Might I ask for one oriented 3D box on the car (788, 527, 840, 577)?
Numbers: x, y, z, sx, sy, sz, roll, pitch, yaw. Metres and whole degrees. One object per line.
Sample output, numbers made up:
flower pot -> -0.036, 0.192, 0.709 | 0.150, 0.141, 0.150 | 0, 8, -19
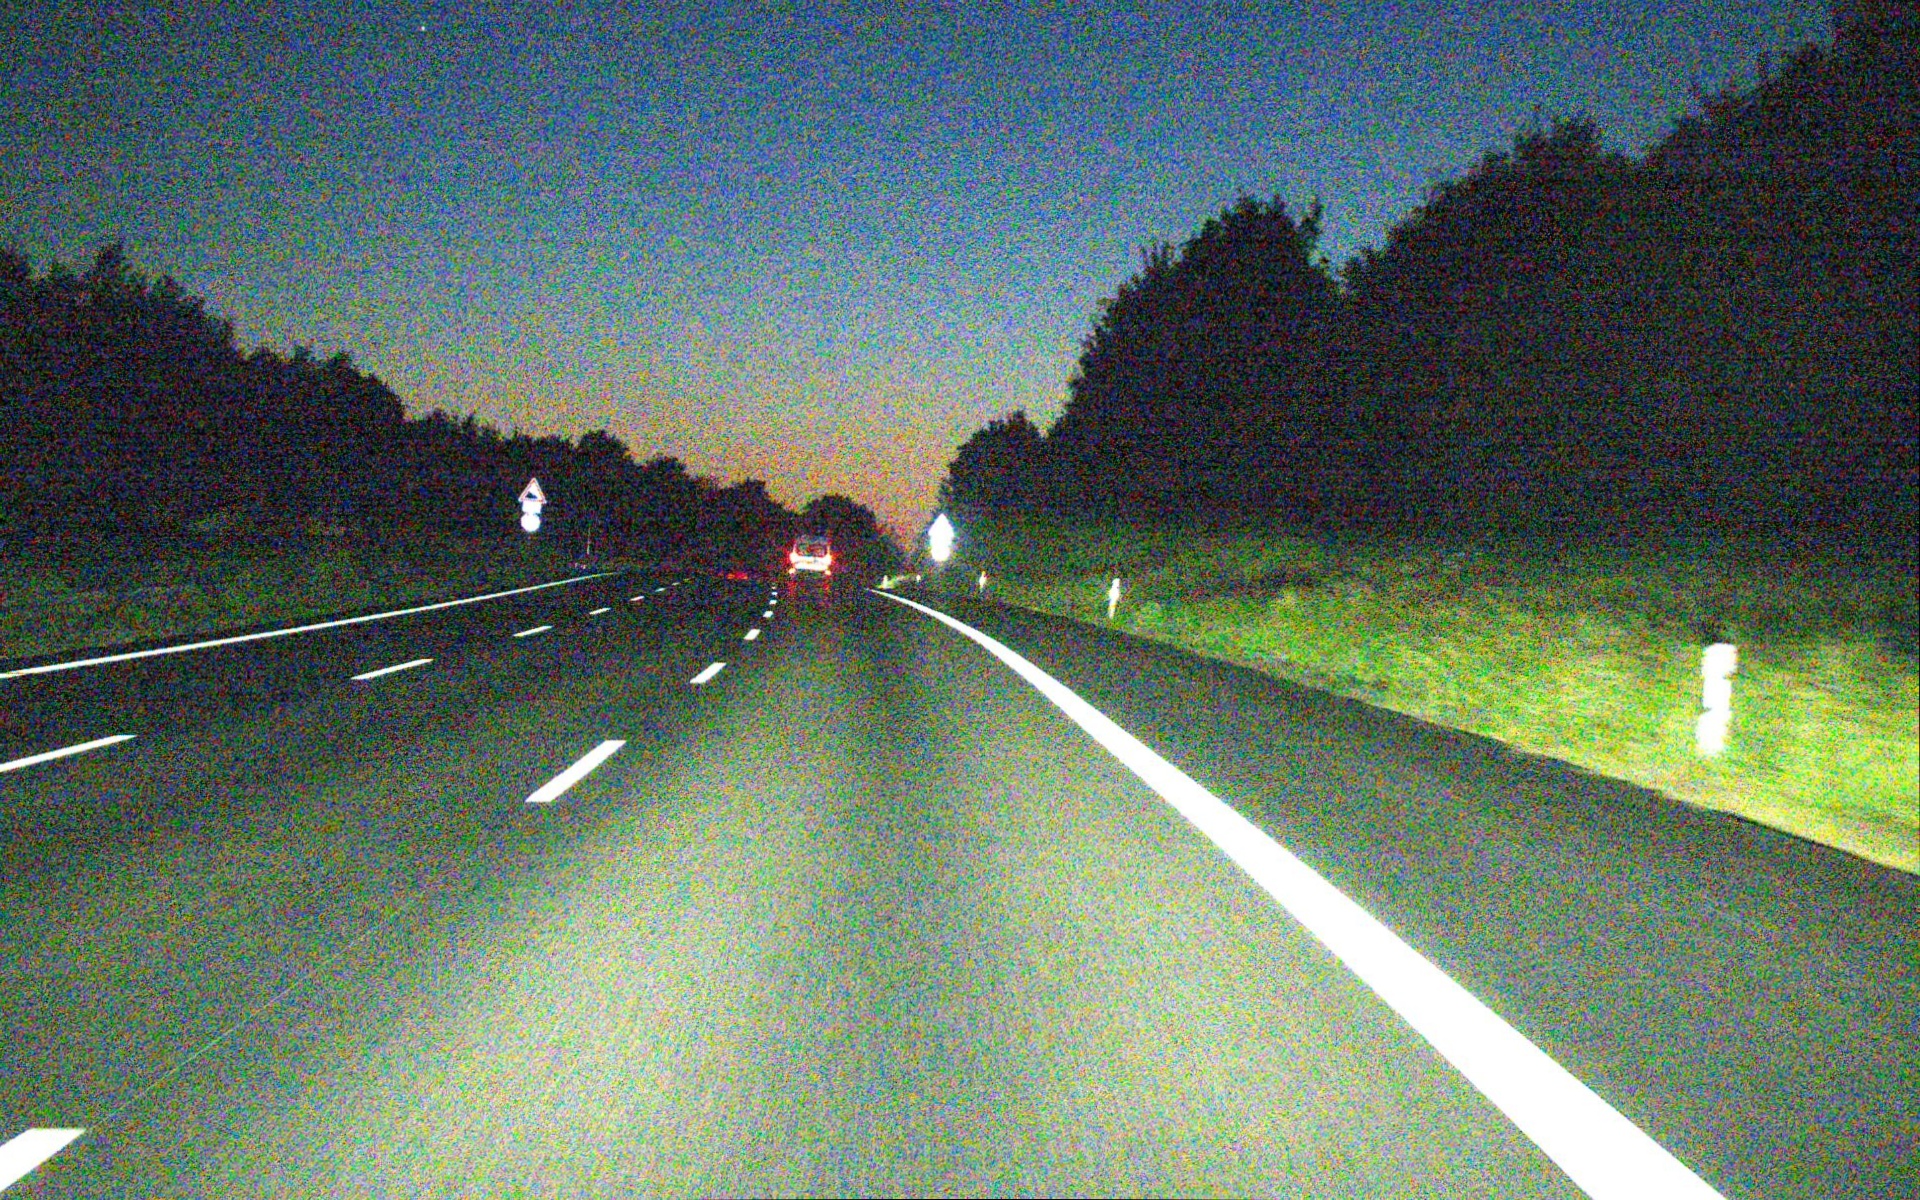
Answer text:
car -> -7.880, -2.614, 185.944 | 2.527, 2.544, 6.051 | 3, 1, -1
